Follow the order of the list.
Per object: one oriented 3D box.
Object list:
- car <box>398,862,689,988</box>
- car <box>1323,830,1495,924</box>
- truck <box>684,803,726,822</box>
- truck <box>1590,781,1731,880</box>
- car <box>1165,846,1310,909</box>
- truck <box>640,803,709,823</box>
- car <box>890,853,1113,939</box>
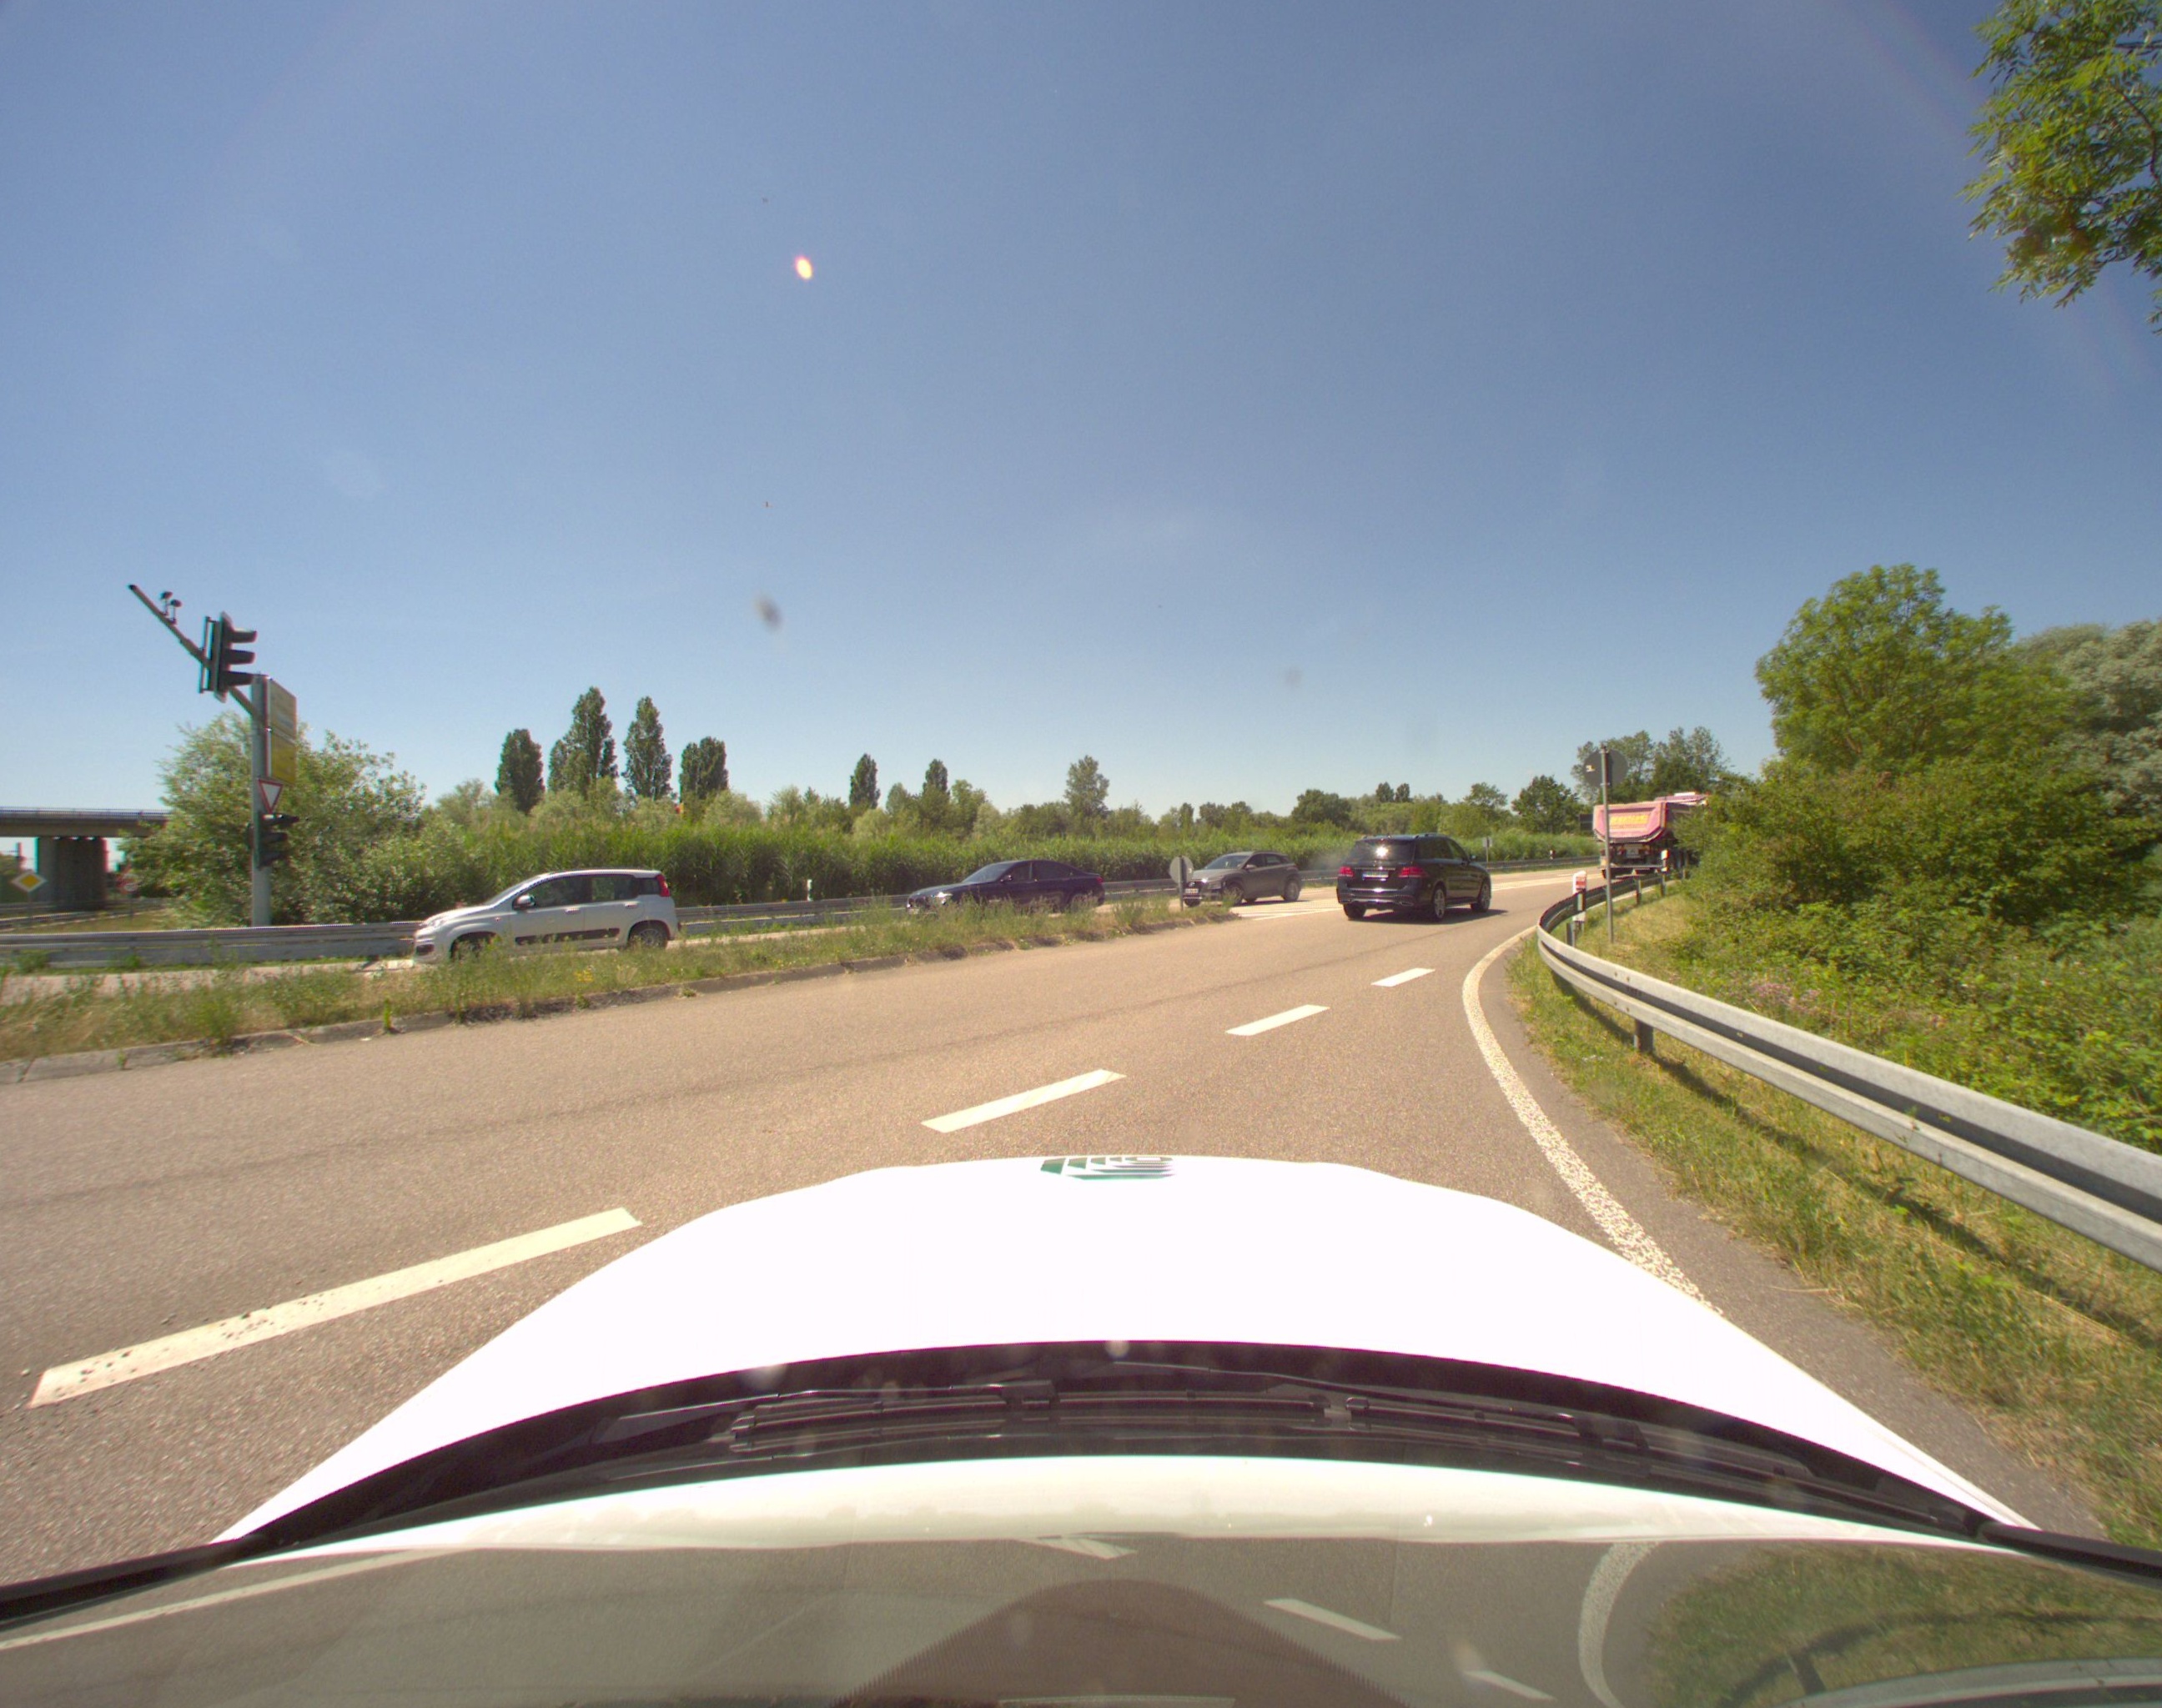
[{"bbox_3d":[-8.666,1.029,13.286,3.738,1.631,1.714,-2,0,-41],"label":"car"},{"bbox_3d":[7.187,0.424,17.553,1.909,1.768,4.625,-1,0,42],"label":"car"},{"bbox_3d":[-54.784,-6.005,118.777,5.134,2.674,1.976,-2,0,-40],"label":"truck"},{"bbox_3d":[26.158,-1.033,36.379,11.953,3.821,2.808,-2,0,-44],"label":"truck"},{"bbox_3d":[4.690,0.652,24.173,4.260,1.631,1.911,-2,0,-39],"label":"car"},{"bbox_3d":[-57.881,-5.870,116.055,8.569,2.674,1.976,-2,0,-41],"label":"truck"},{"bbox_3d":[-1.770,0.901,19.257,4.966,1.631,1.911,-2,0,-39],"label":"car"}]
